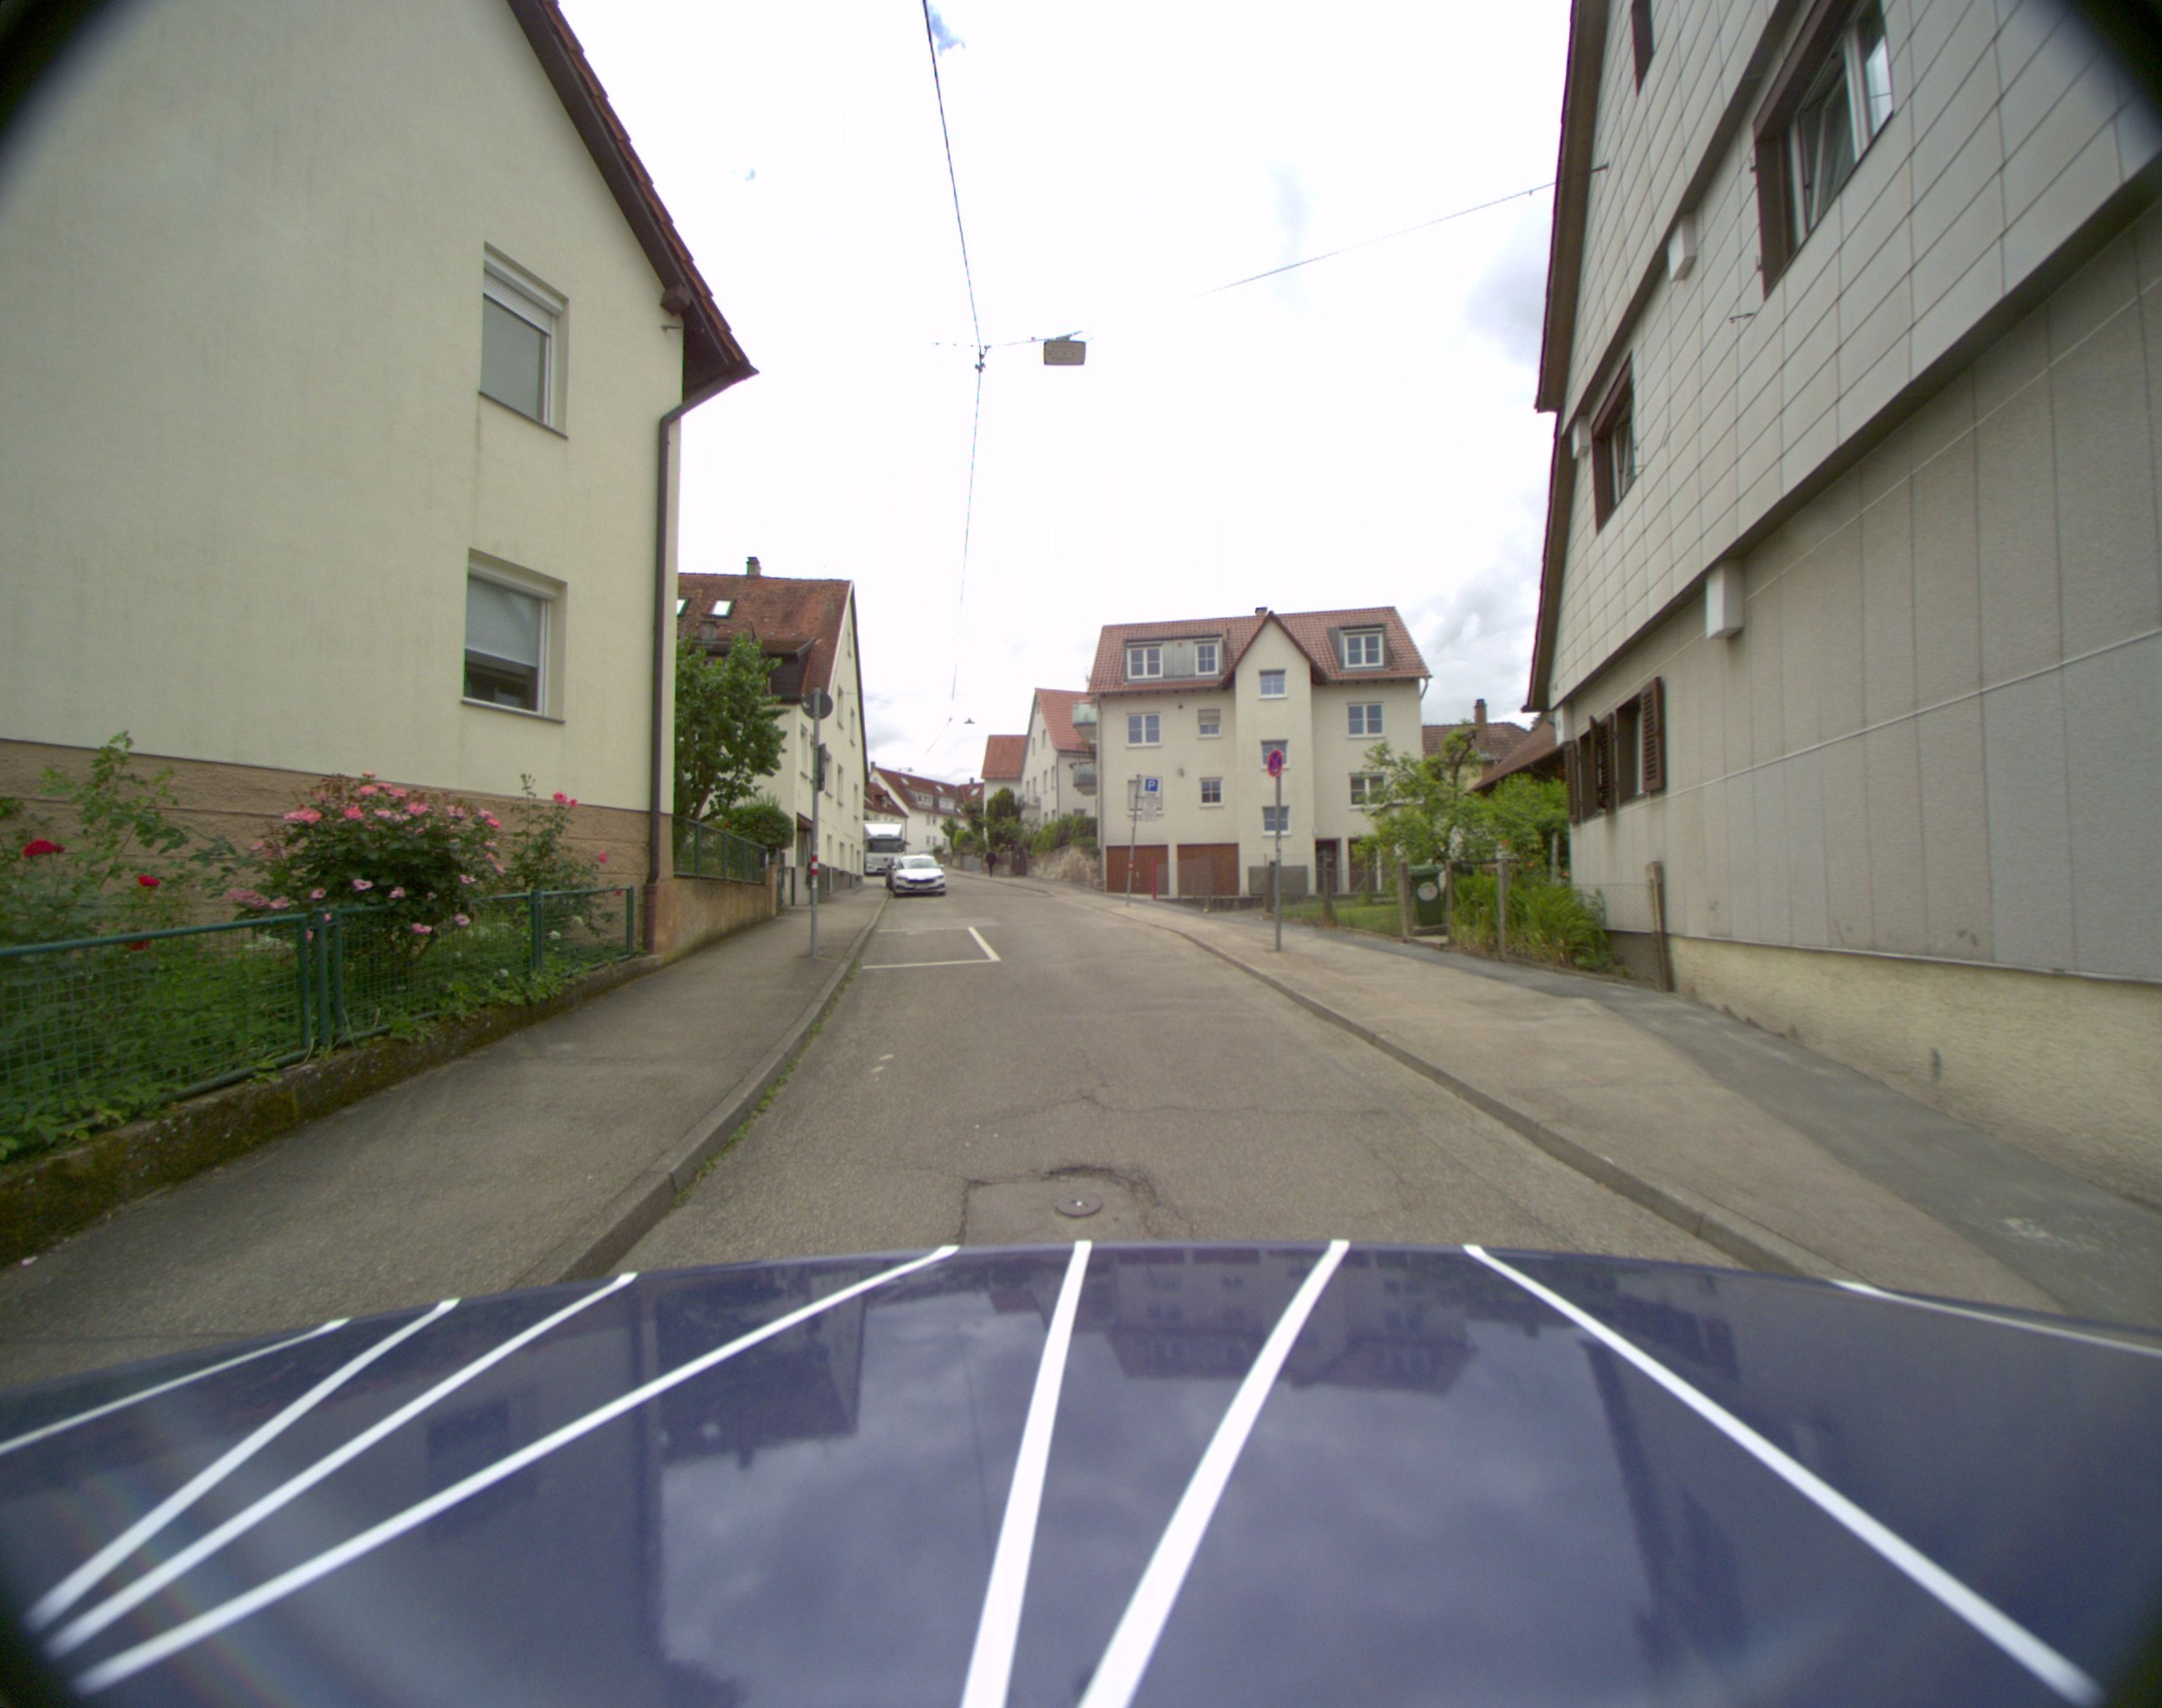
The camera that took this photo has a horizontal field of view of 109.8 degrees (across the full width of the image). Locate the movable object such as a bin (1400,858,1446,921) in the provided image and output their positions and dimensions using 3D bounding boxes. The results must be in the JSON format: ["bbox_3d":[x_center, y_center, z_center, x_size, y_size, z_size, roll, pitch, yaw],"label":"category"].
[{"bbox_3d":[5.124,0.521,11.418,0.527,0.879,0.490,-4,2,17],"label":"movable object such as a bin"}]

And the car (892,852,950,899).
[{"bbox_3d":[-5.978,0.727,28.085,1.801,1.437,4.291,-2,2,-15],"label":"car"}]

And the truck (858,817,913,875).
[{"bbox_3d":[-13.172,-0.537,50.735,2.687,3.576,8.090,-1,1,-20],"label":"truck"}]

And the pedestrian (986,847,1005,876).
[{"bbox_3d":[-5.160,0.461,45.792,0.843,1.668,0.975,-3,2,-19],"label":"pedestrian"}]

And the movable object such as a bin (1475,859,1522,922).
[{"bbox_3d":[6.215,0.535,11.329,0.495,0.873,0.453,-4,2,17],"label":"movable object such as a bin"}]

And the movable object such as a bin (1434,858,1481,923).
[{"bbox_3d":[5.704,0.549,11.535,0.527,0.912,0.490,-4,2,17],"label":"movable object such as a bin"}]
